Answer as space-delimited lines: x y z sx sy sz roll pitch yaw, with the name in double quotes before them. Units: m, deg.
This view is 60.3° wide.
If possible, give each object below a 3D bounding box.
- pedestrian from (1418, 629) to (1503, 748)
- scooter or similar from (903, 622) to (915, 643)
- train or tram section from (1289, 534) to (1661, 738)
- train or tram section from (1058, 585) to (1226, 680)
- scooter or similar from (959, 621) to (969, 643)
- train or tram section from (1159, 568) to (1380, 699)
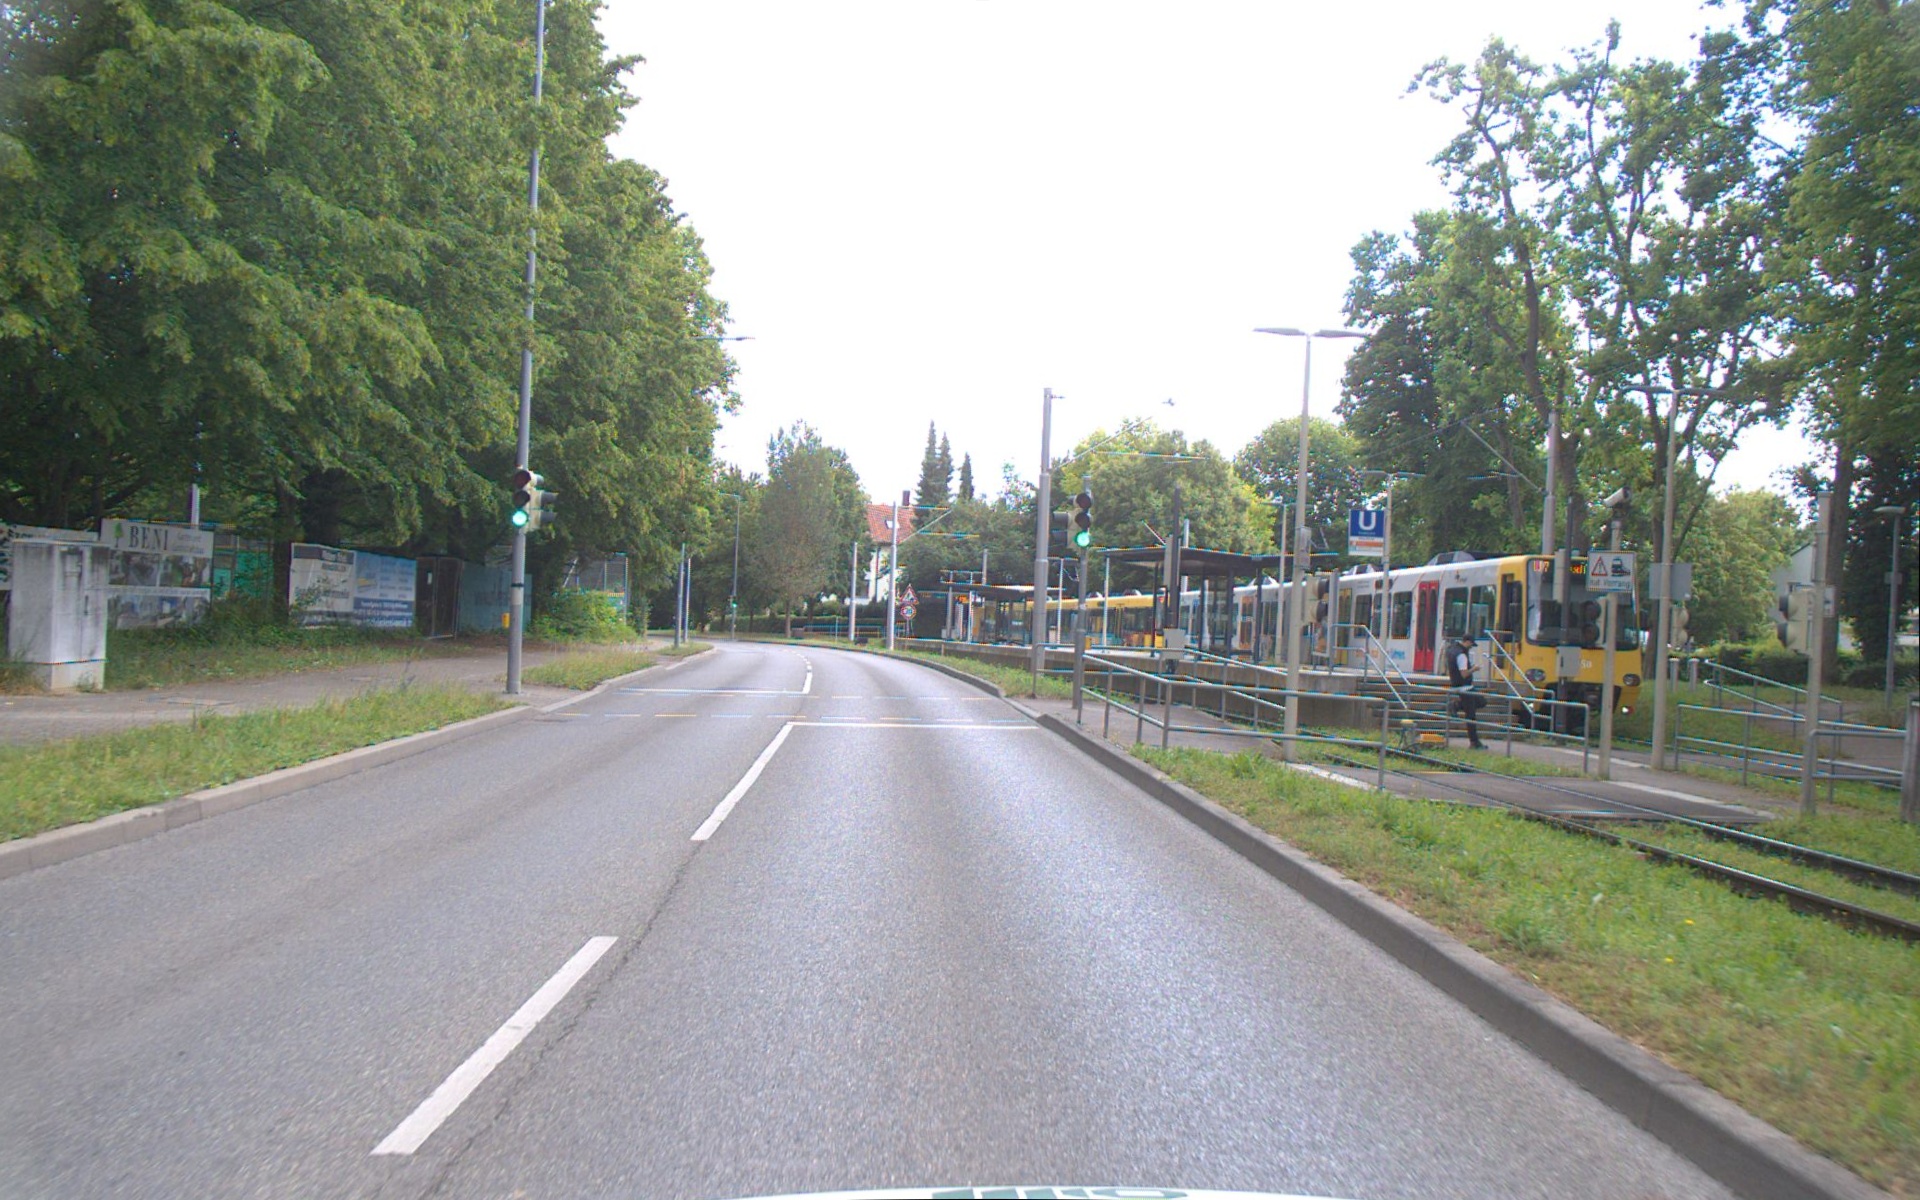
"pedestrian" 7.853 1.377 25.962 0.966 1.788 0.727 3 0 -12
"scooter or similar" -3.262 2.078 106.158 0.423 1.275 1.248 1 -3 -18
"train or tram section" 11.868 0.872 41.384 2.757 3.802 18.522 3 -1 -2
"train or tram section" 8.214 1.478 78.892 2.762 3.802 19.471 3 -1 -9
"scooter or similar" 0.240 1.847 96.479 0.361 1.264 1.143 2 -1 -10
"train or tram section" 10.643 1.182 60.216 2.759 3.865 18.911 3 -1 -5
